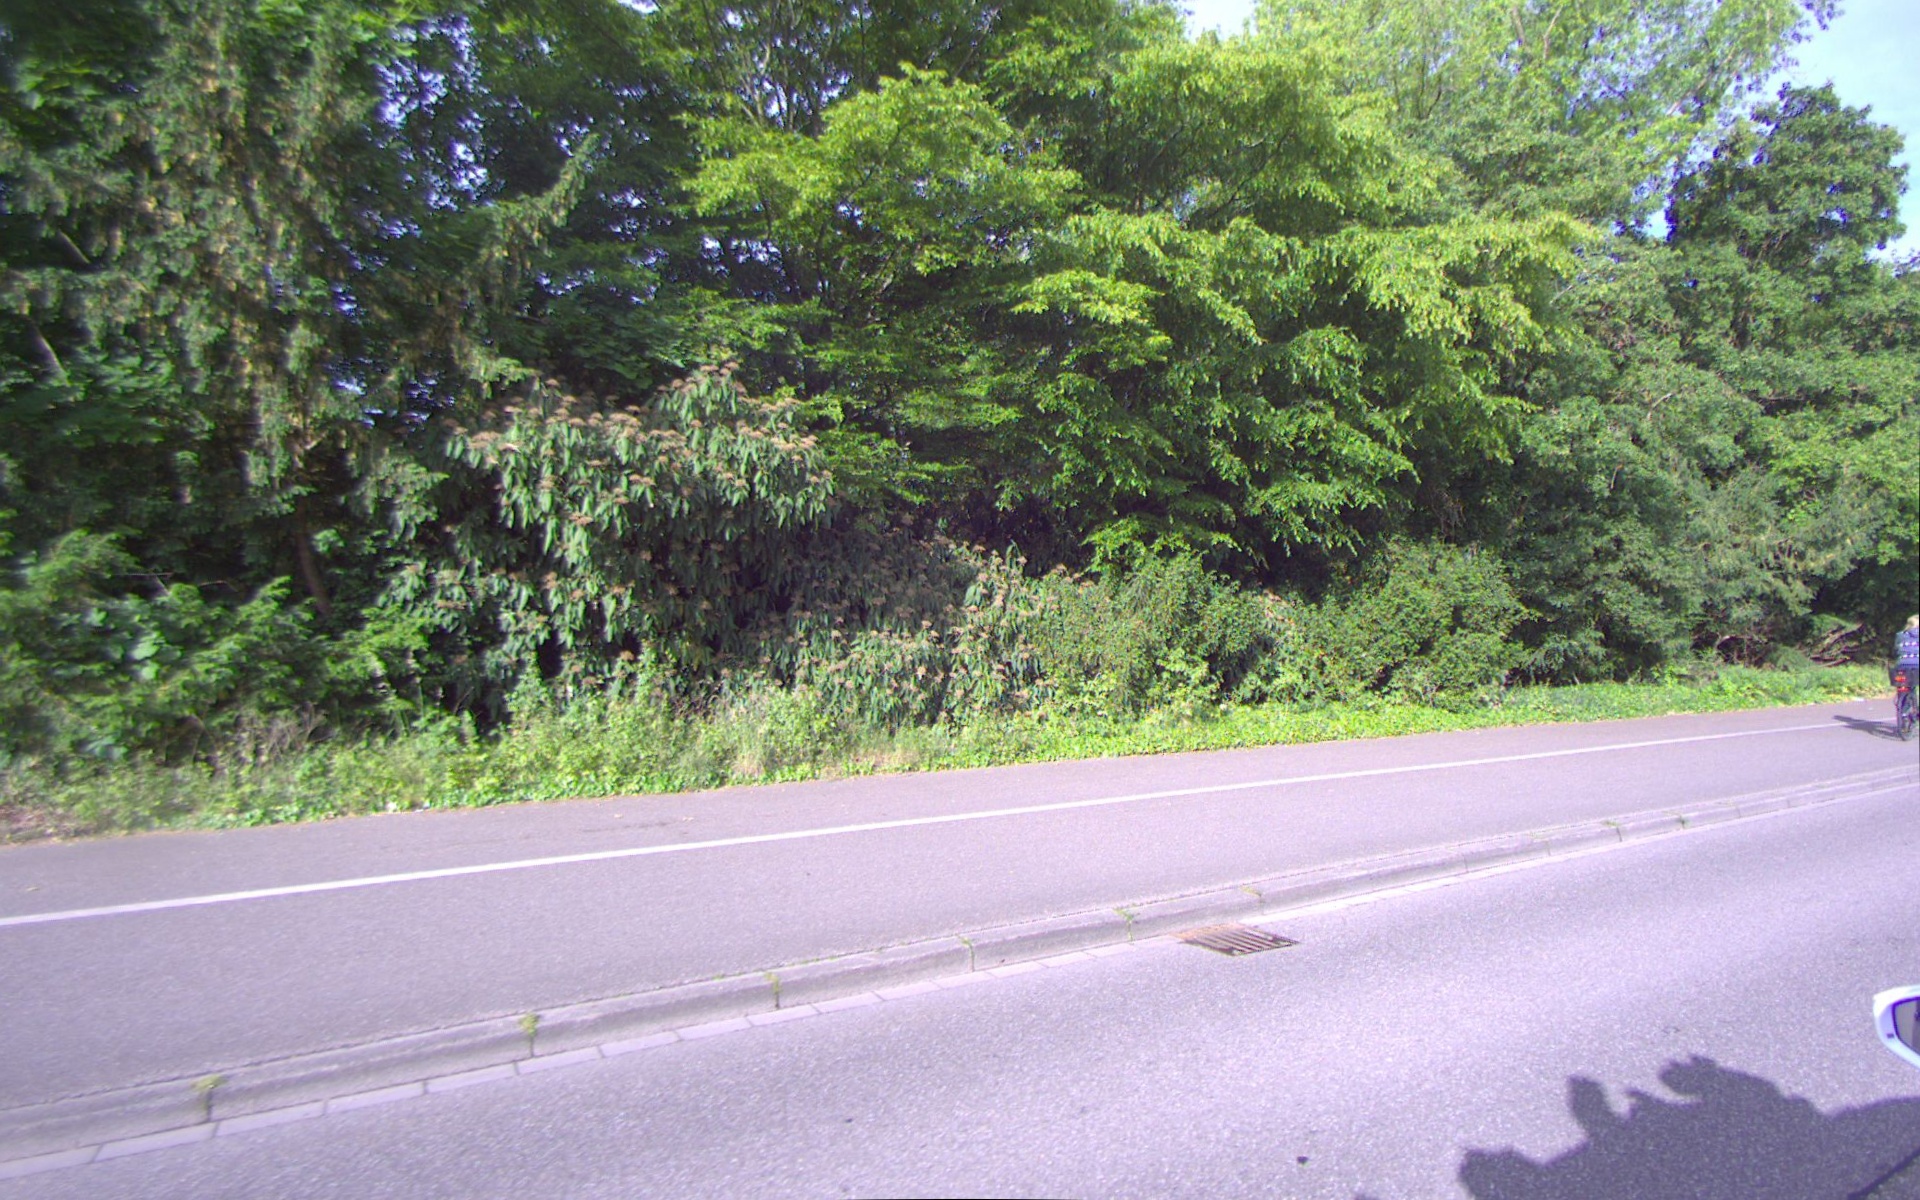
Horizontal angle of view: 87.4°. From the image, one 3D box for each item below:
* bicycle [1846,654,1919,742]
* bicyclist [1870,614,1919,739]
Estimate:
[{"bbox_3d":[13.340,1.342,14.087,2.320,1.112,0.659,1,0,-30],"label":"bicycle"},{"bbox_3d":[13.309,1.046,14.059,0.873,1.699,0.606,1,-1,-30],"label":"bicyclist"}]
